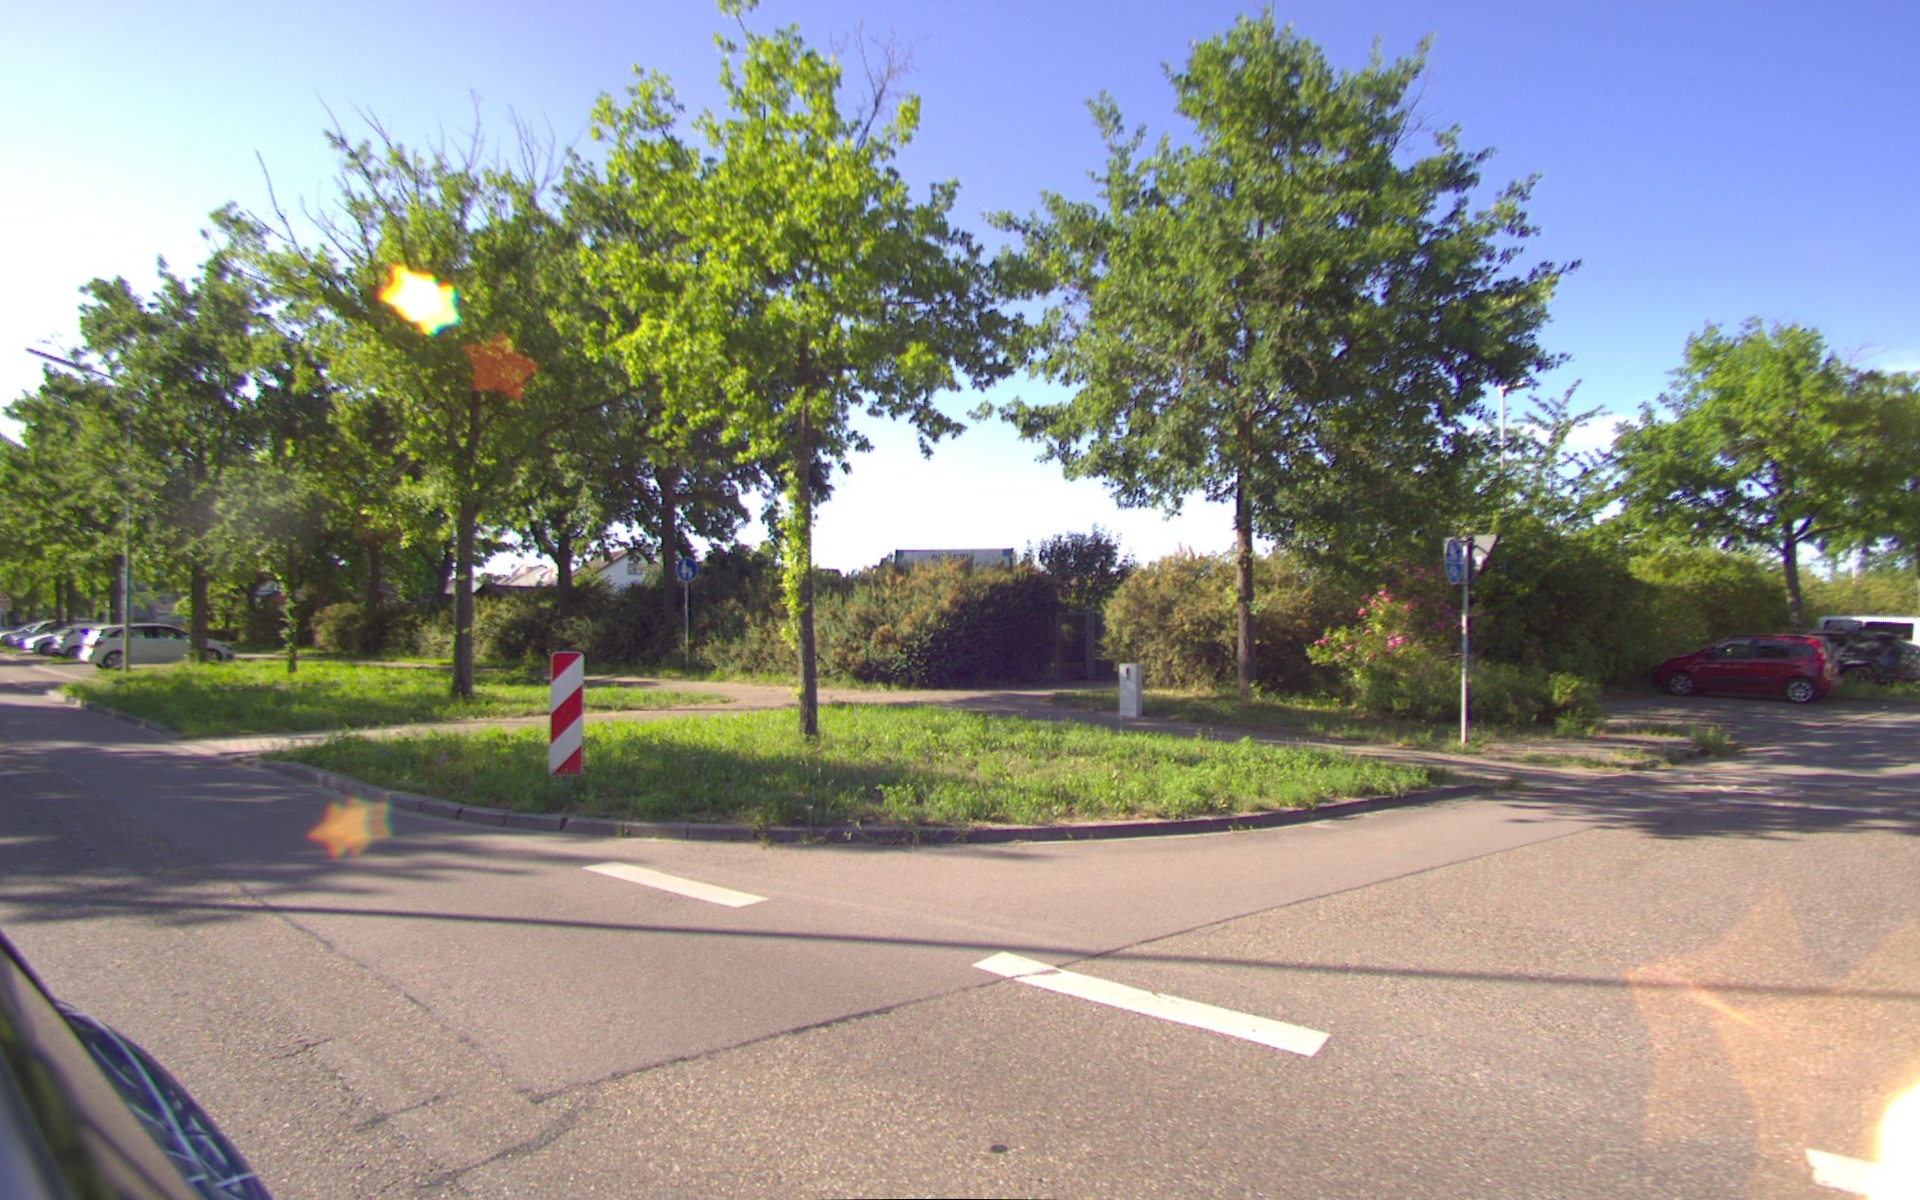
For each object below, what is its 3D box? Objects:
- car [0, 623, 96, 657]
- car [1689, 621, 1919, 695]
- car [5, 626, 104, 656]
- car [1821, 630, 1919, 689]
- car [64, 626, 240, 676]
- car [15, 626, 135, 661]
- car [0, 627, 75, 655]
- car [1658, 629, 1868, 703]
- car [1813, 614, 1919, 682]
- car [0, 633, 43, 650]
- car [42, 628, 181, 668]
[{"bbox_3d":[-55.036,2.394,61.109,1.998,1.898,4.182,-2,-1,43],"label":"car"},{"bbox_3d":[22.791,1.481,27.097,1.966,1.798,4.896,1,-2,-34],"label":"car"},{"bbox_3d":[-51.336,2.289,57.404,1.866,1.568,4.089,-2,-1,44],"label":"car"},{"bbox_3d":[27.191,1.663,28.684,1.969,1.625,4.007,2,-2,-42],"label":"car"},{"bbox_3d":[-28.746,1.781,36.113,2.189,1.570,4.581,-2,-1,39],"label":"car"},{"bbox_3d":[-44.062,2.135,50.455,2.089,1.568,4.363,-2,-1,44],"label":"car"},{"bbox_3d":[-59.195,2.621,64.541,1.877,1.655,4.016,-2,-1,45],"label":"car"},{"bbox_3d":[18.833,1.492,23.845,1.776,1.516,3.559,1,-1,-38],"label":"car"},{"bbox_3d":[29.292,1.441,30.639,1.966,2.029,4.896,1,-2,-34],"label":"car"},{"bbox_3d":[-82.978,3.614,88.589,3.976,1.490,1.944,2,-3,-41],"label":"car"},{"bbox_3d":[-36.443,2.011,43.547,2.088,1.522,4.365,-2,-1,42],"label":"car"}]
